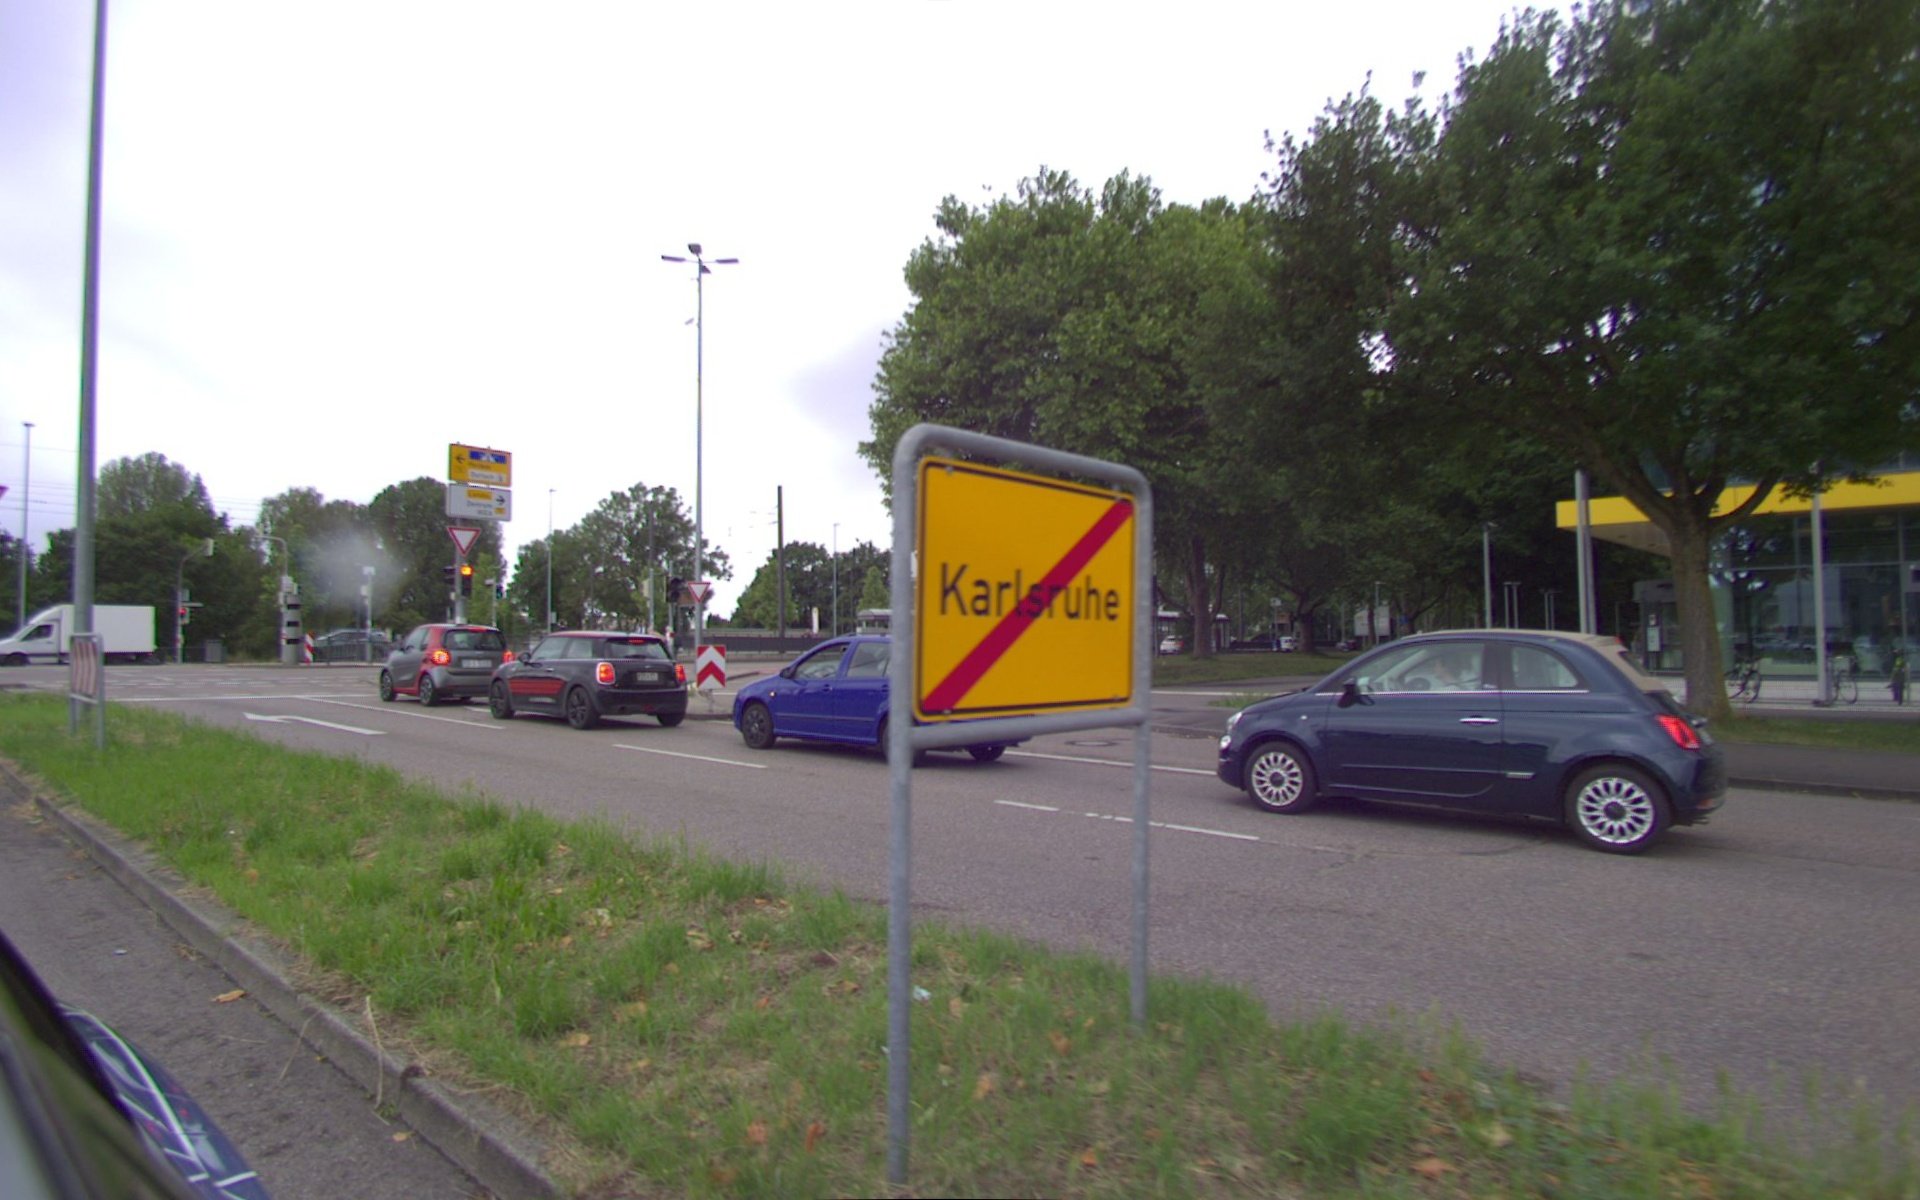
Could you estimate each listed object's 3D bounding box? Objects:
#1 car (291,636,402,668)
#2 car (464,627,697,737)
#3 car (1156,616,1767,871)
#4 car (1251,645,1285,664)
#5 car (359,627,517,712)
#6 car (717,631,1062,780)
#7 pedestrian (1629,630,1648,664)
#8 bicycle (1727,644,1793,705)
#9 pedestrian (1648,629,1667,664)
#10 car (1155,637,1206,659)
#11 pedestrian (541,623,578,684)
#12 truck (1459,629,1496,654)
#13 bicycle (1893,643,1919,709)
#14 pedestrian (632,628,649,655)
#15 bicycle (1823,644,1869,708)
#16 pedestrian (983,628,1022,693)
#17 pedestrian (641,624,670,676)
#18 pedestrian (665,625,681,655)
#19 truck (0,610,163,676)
[{"bbox_3d":[-29.779,2.516,49.232,1.676,1.419,4.314,-5,-4,39],"label":"car"},{"bbox_3d":[-6.045,1.218,15.909,4.062,1.514,1.644,-2,-4,41],"label":"car"},{"bbox_3d":[3.719,0.955,7.960,4.035,1.509,1.586,-2,-5,41],"label":"car"},{"bbox_3d":[27.946,4.910,91.678,1.793,1.597,4.094,0,-1,35],"label":"car"},{"bbox_3d":[-10.147,1.311,19.620,3.207,1.514,1.586,-2,-3,40],"label":"car"},{"bbox_3d":[-0.951,1.130,11.970,4.141,1.455,1.586,-1,-4,41],"label":"car"},{"bbox_3d":[40.762,2.833,60.775,0.741,2.029,0.659,-5,-4,40],"label":"pedestrian"},{"bbox_3d":[17.040,1.560,21.602,0.590,1.165,2.005,-2,-1,24],"label":"bicycle"},{"bbox_3d":[41.497,2.772,60.192,0.741,2.029,0.659,-5,-4,40],"label":"pedestrian"},{"bbox_3d":[16.292,3.512,74.664,1.891,1.598,4.352,-1,-2,39],"label":"car"},{"bbox_3d":[-12.228,1.639,30.912,0.686,1.778,0.656,3,-3,39],"label":"pedestrian"},{"bbox_3d":[79.465,6.330,155.321,3.258,3.691,9.767,0,-2,39],"label":"truck"},{"bbox_3d":[18.969,1.480,20.019,0.593,1.165,1.996,-2,-1,39],"label":"bicycle"},{"bbox_3d":[-18.651,2.416,59.040,0.711,1.572,0.623,-5,-5,42],"label":"pedestrian"},{"bbox_3d":[18.208,1.531,20.827,0.593,1.165,1.996,-2,-1,39],"label":"bicycle"},{"bbox_3d":[1.119,1.589,26.799,0.808,1.655,0.627,0,-1,39],"label":"pedestrian"},{"bbox_3d":[-10.285,1.668,34.190,0.766,1.725,0.666,-2,-3,45],"label":"pedestrian"},{"bbox_3d":[-17.398,2.438,61.301,0.788,1.755,0.578,-5,-5,43],"label":"pedestrian"},{"bbox_3d":[-42.586,2.103,48.489,2.826,2.946,6.454,-5,-5,41],"label":"truck"}]
